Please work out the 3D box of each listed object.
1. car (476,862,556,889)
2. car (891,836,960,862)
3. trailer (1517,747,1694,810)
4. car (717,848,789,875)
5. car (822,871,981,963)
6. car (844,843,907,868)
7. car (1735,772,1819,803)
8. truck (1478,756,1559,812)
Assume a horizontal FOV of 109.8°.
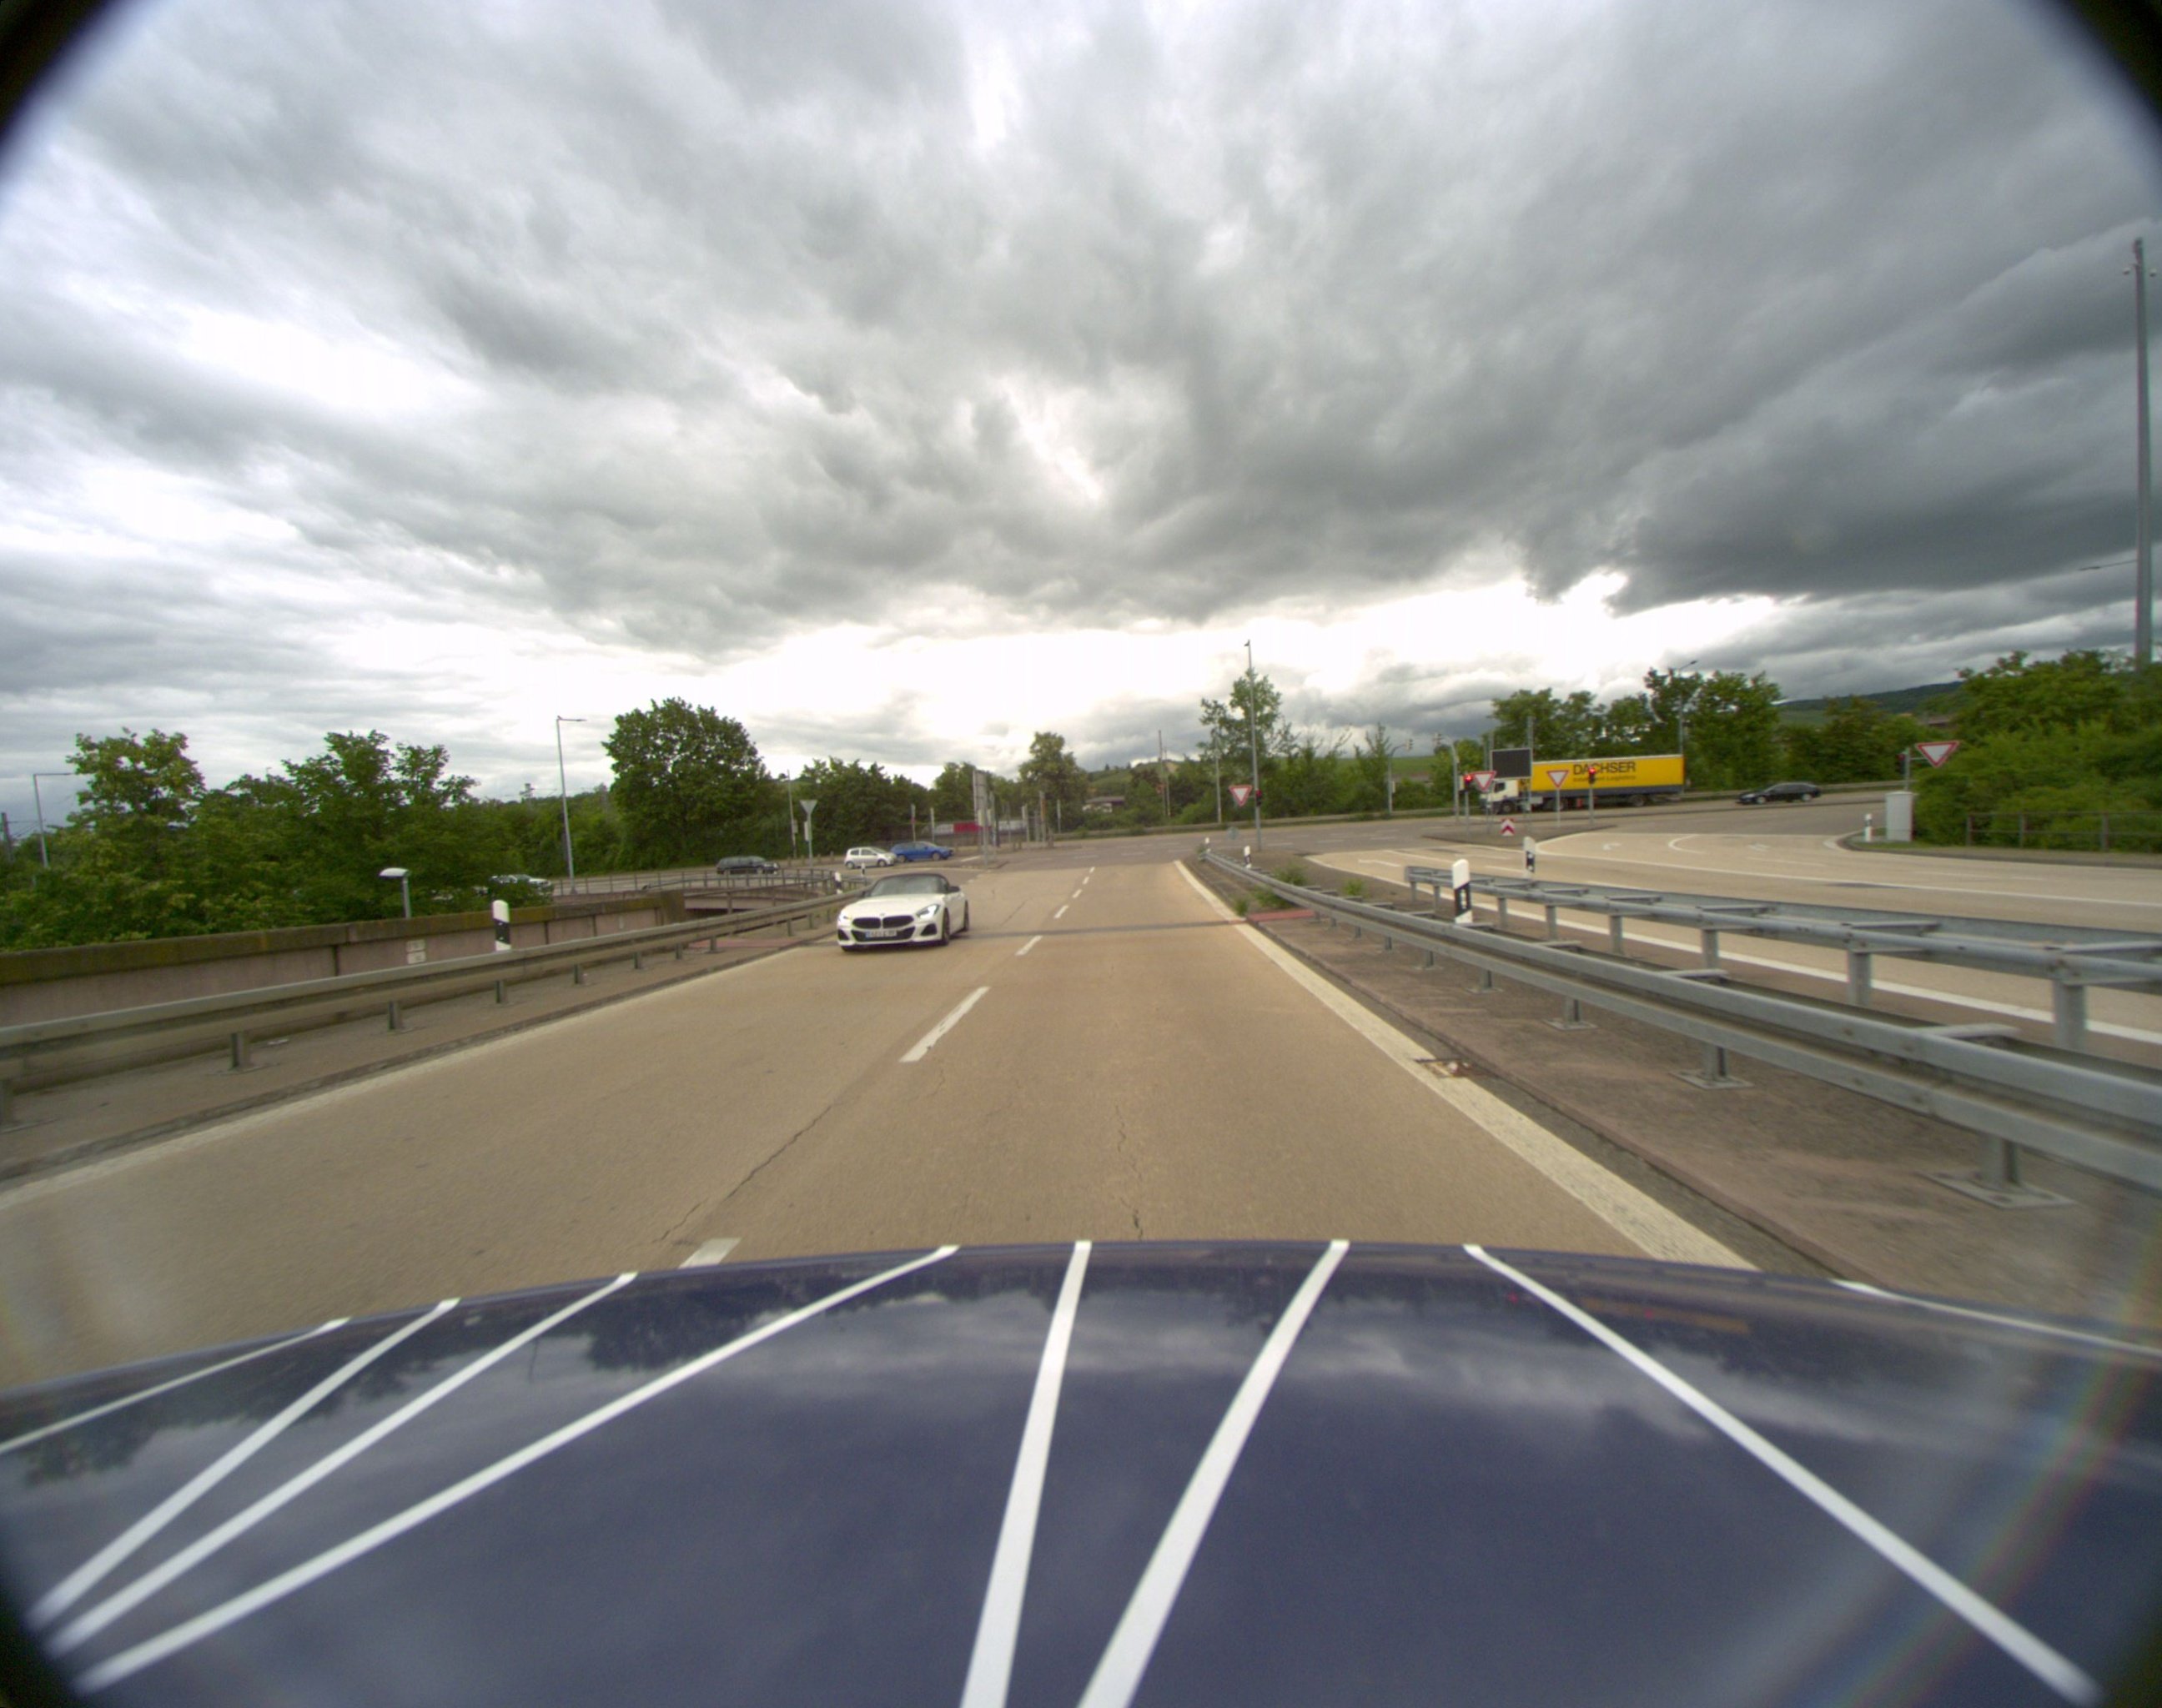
[{"bbox_3d":[-43.111,1.617,58.038,4.710,1.552,1.877,-4,4,4],"label":"car"},{"bbox_3d":[-11.305,-0.375,55.398,4.536,1.446,1.610,-4,4,11],"label":"car"},{"bbox_3d":[42.042,-6.013,61.245,11.639,4.182,2.635,-3,4,10],"label":"trailer"},{"bbox_3d":[-23.811,0.532,55.224,4.289,1.548,1.947,-4,4,8],"label":"car"},{"bbox_3d":[-3.282,1.094,14.950,1.862,1.337,4.825,-3,0,1],"label":"car"},{"bbox_3d":[-14.313,0.083,53.019,3.744,1.367,1.628,-4,4,9],"label":"car"},{"bbox_3d":[48.546,-4.645,53.075,4.120,1.653,1.628,-6,5,8],"label":"car"},{"bbox_3d":[35.815,-5.690,62.313,5.094,4.182,2.635,-3,4,10],"label":"truck"}]
